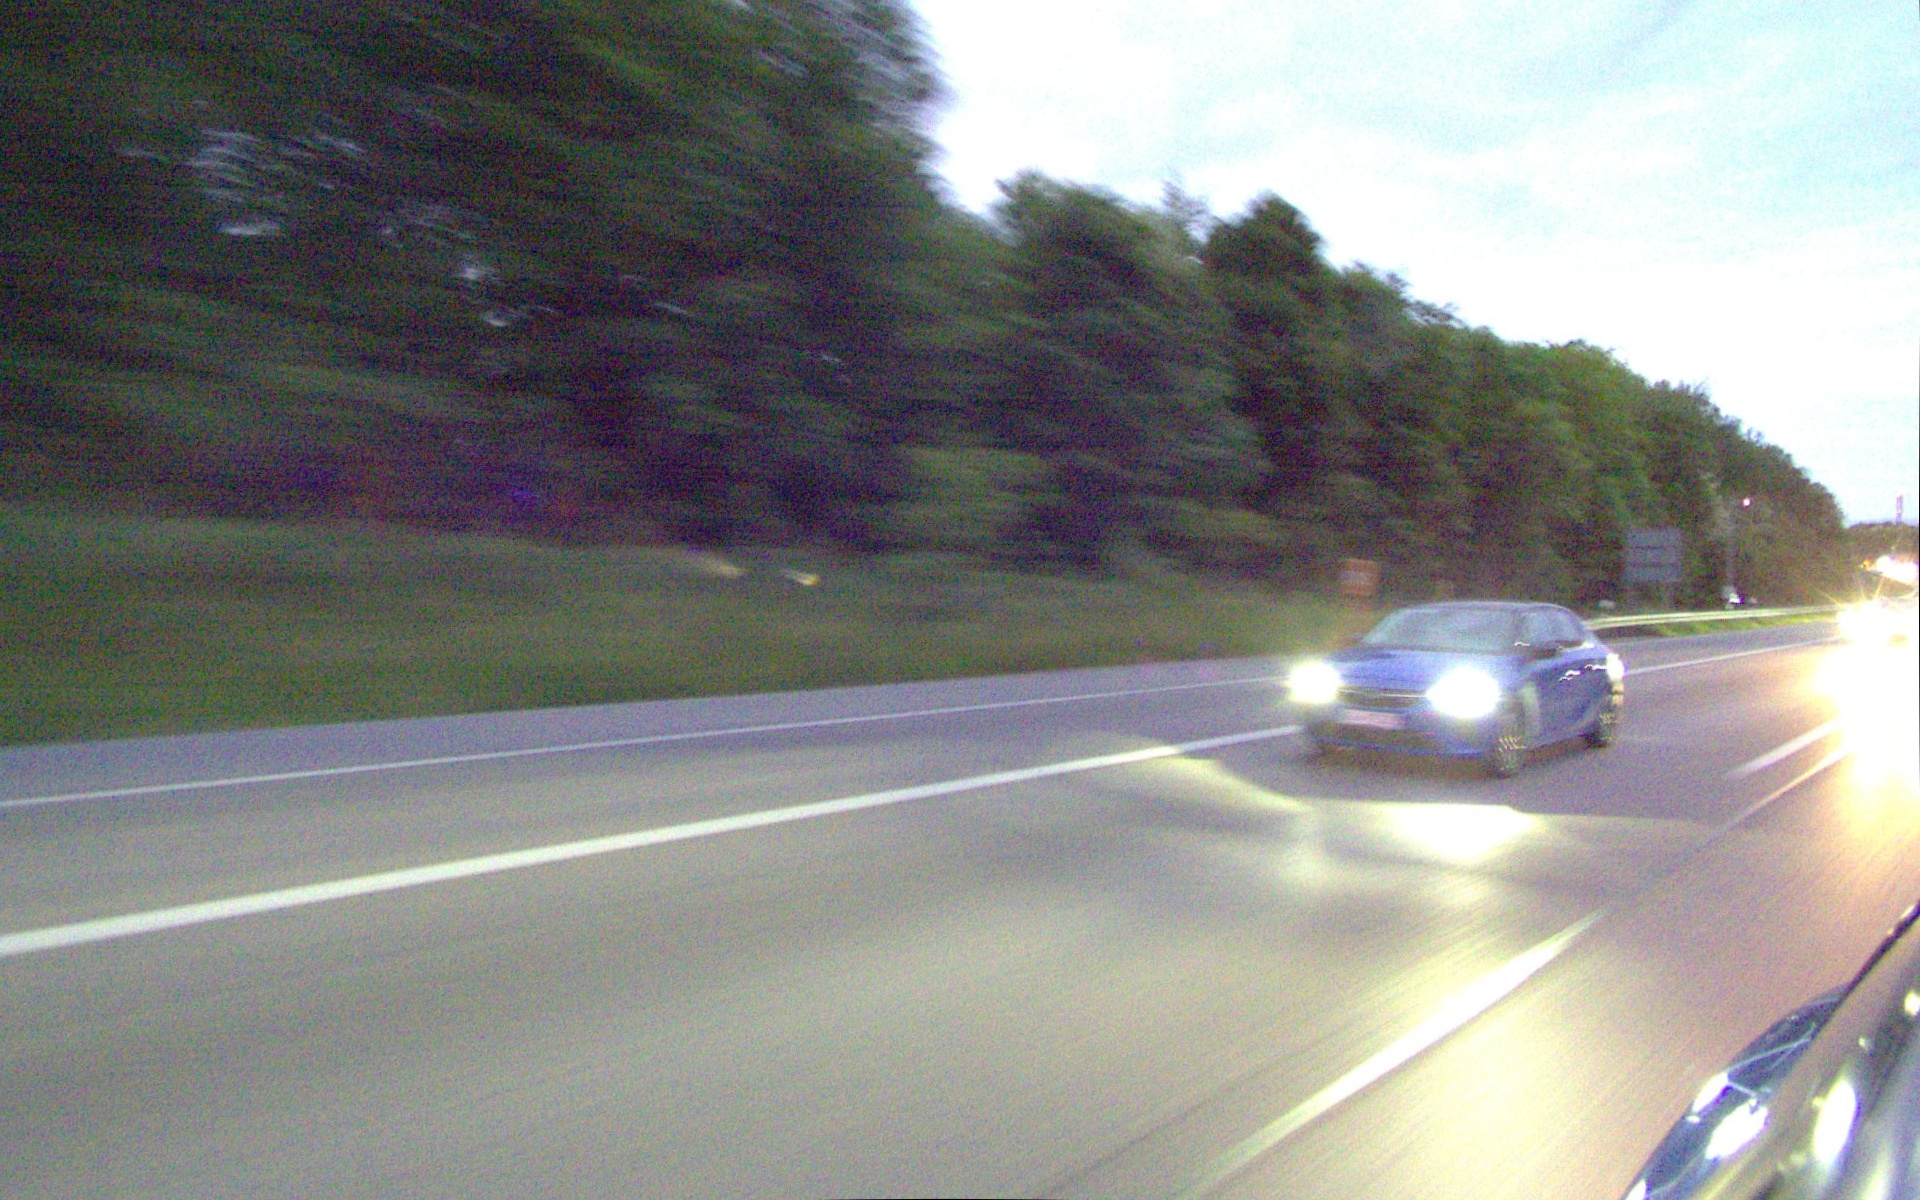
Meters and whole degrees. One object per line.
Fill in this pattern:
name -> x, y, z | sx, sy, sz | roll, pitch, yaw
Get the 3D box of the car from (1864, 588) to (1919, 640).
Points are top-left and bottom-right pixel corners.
car -> 29.711, 0.400, 31.423 | 4.860, 1.509, 1.695 | 0, -1, -39

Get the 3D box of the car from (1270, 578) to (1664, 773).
car -> 5.054, 0.607, 9.786 | 4.503, 1.454, 1.868 | 1, -1, -41
